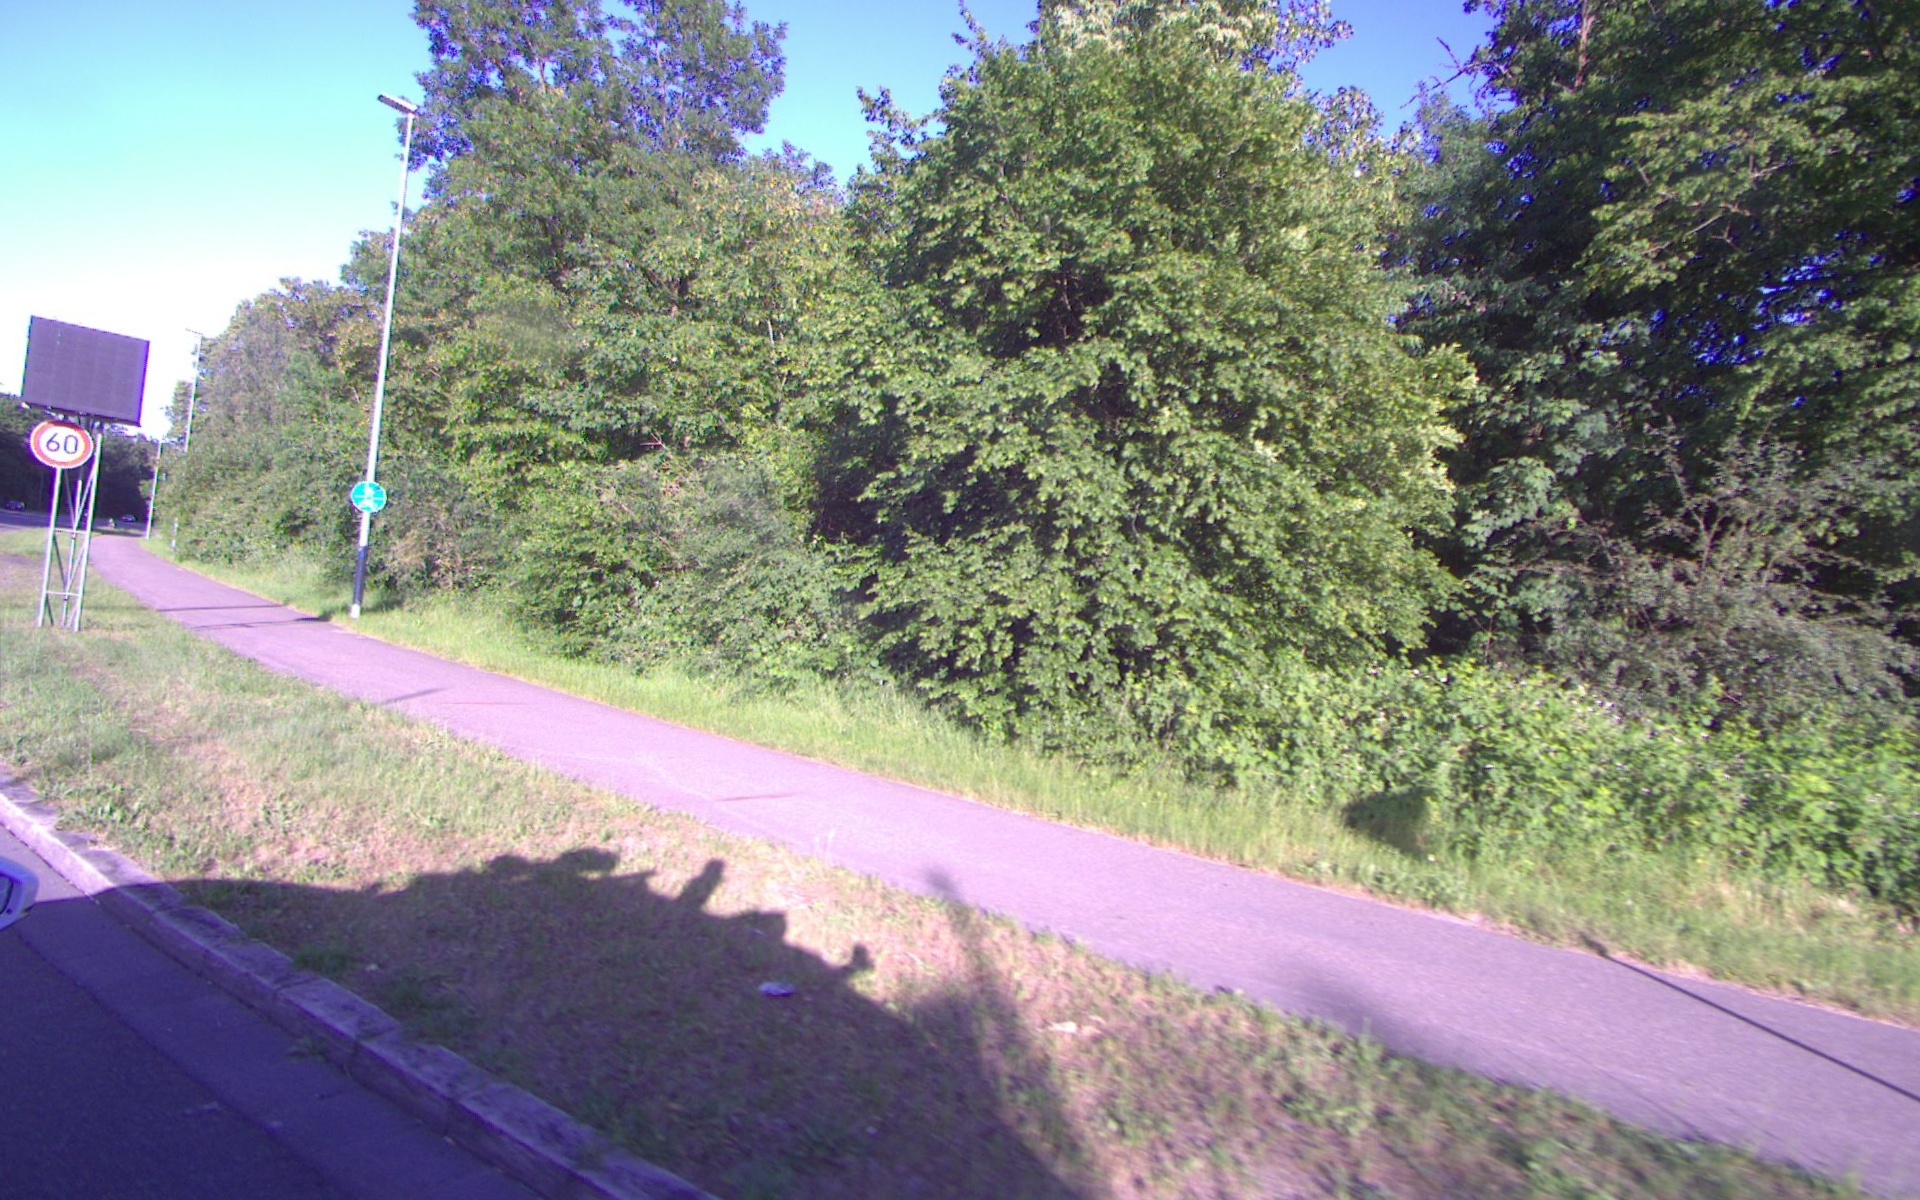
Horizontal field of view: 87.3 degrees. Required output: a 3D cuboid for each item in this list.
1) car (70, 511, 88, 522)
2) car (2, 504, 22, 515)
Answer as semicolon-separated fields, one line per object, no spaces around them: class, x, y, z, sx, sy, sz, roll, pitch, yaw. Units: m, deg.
car;-165.541;-15.630;188.981;1.814;1.562;4.219;9;-2;-34
car;-137.516;-13.081;145.948;1.738;1.248;4.620;8;-2;-41
